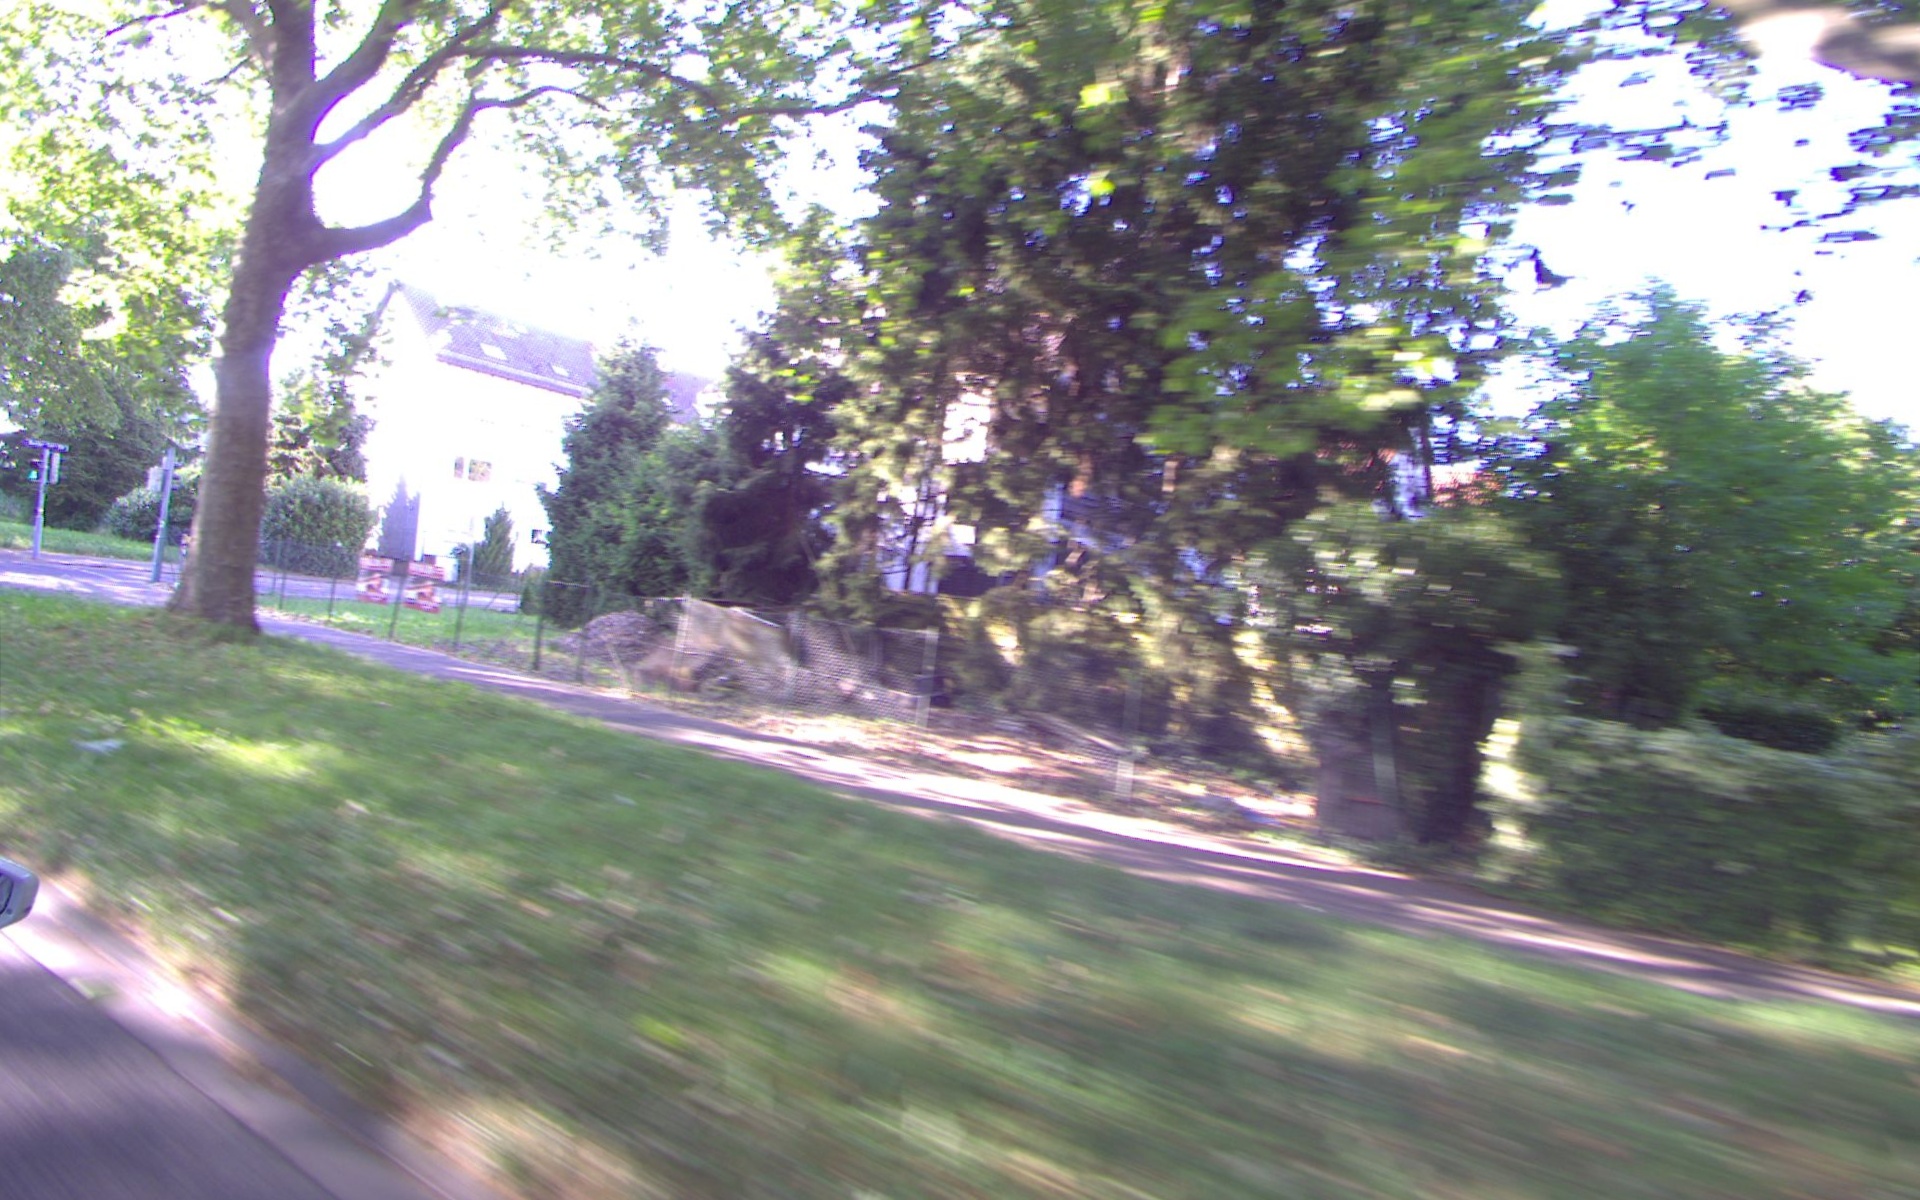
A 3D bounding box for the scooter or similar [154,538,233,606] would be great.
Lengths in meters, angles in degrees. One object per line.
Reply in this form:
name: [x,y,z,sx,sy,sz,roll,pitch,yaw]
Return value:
scooter or similar: [-16.661,-0.624,21.846,2.276,1.273,0.550,6,-1,33]
